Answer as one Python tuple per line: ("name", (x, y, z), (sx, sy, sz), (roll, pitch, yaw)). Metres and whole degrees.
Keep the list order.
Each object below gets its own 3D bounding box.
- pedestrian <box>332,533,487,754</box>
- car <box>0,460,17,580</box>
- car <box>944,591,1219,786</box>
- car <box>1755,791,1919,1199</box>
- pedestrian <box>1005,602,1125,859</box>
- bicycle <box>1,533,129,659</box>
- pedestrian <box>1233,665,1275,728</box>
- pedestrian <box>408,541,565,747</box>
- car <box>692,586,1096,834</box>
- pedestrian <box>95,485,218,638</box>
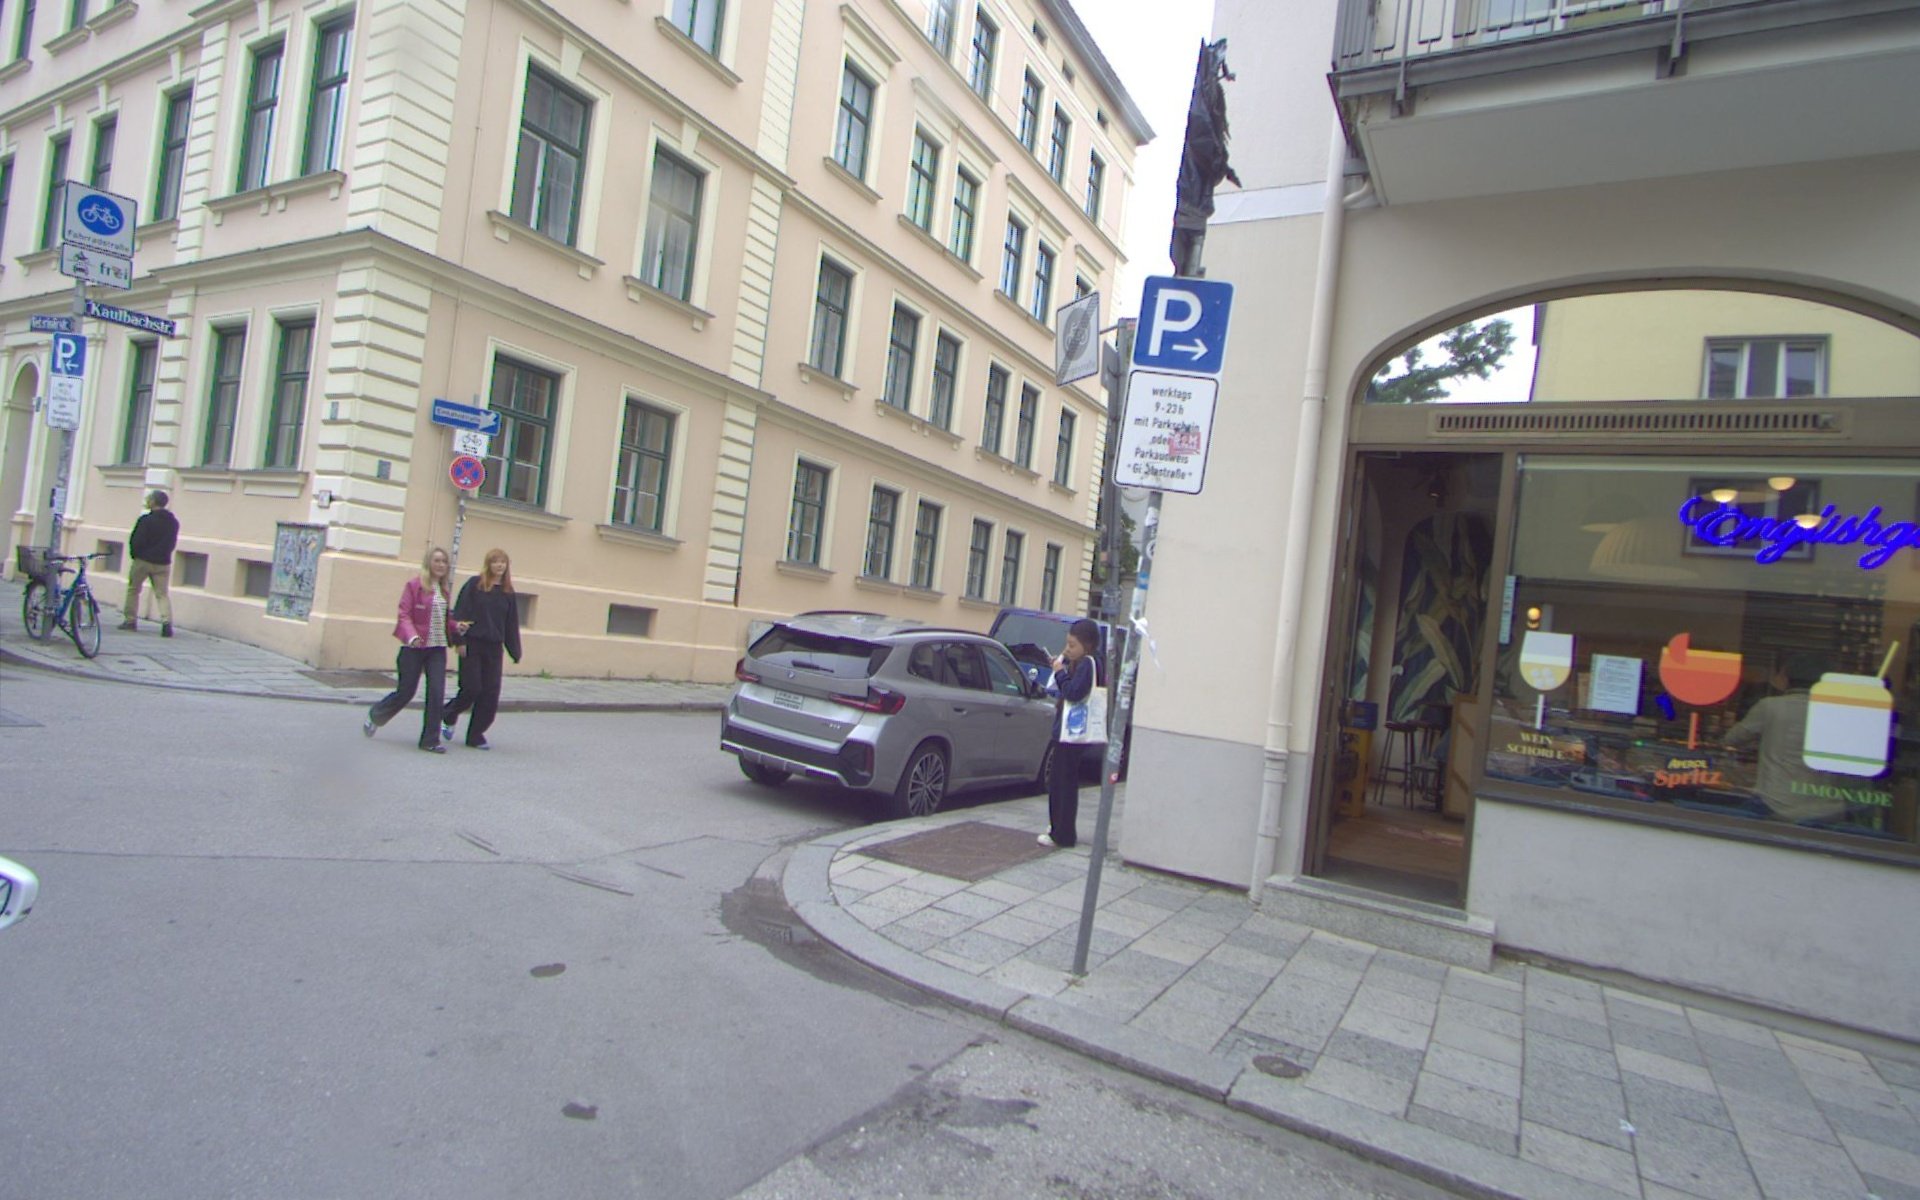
("pedestrian", (-4.438, 0.332, 8.105), (1.051, 1.644, 0.473), (5, -1, 30))
("car", (-11.507, -0.682, 9.813), (5.167, 1.886, 2.001), (7, -2, 32))
("car", (1.860, 1.185, 13.720), (1.941, 1.939, 4.450), (10, 0, 29))
("car", (3.265, 1.275, 0.579), (4.131, 1.440, 1.681), (7, -3, 29))
("pedestrian", (0.751, 0.892, 7.074), (0.517, 1.666, 0.636), (5, -1, 23))
("bicycle", (-9.273, -0.057, 10.404), (1.700, 1.066, 0.465), (9, 3, 32))
("pedestrian", (8.216, 2.688, 28.095), (0.803, 1.647, 0.871), (5, -1, 28))
("pedestrian", (-4.099, 0.371, 8.716), (0.963, 1.640, 0.660), (5, -1, 30))
("car", (-0.361, 0.976, 9.599), (1.725, 1.624, 4.097), (9, 0, 29))
("pedestrian", (-9.810, -0.470, 12.290), (0.987, 1.737, 0.720), (5, -1, 30))
